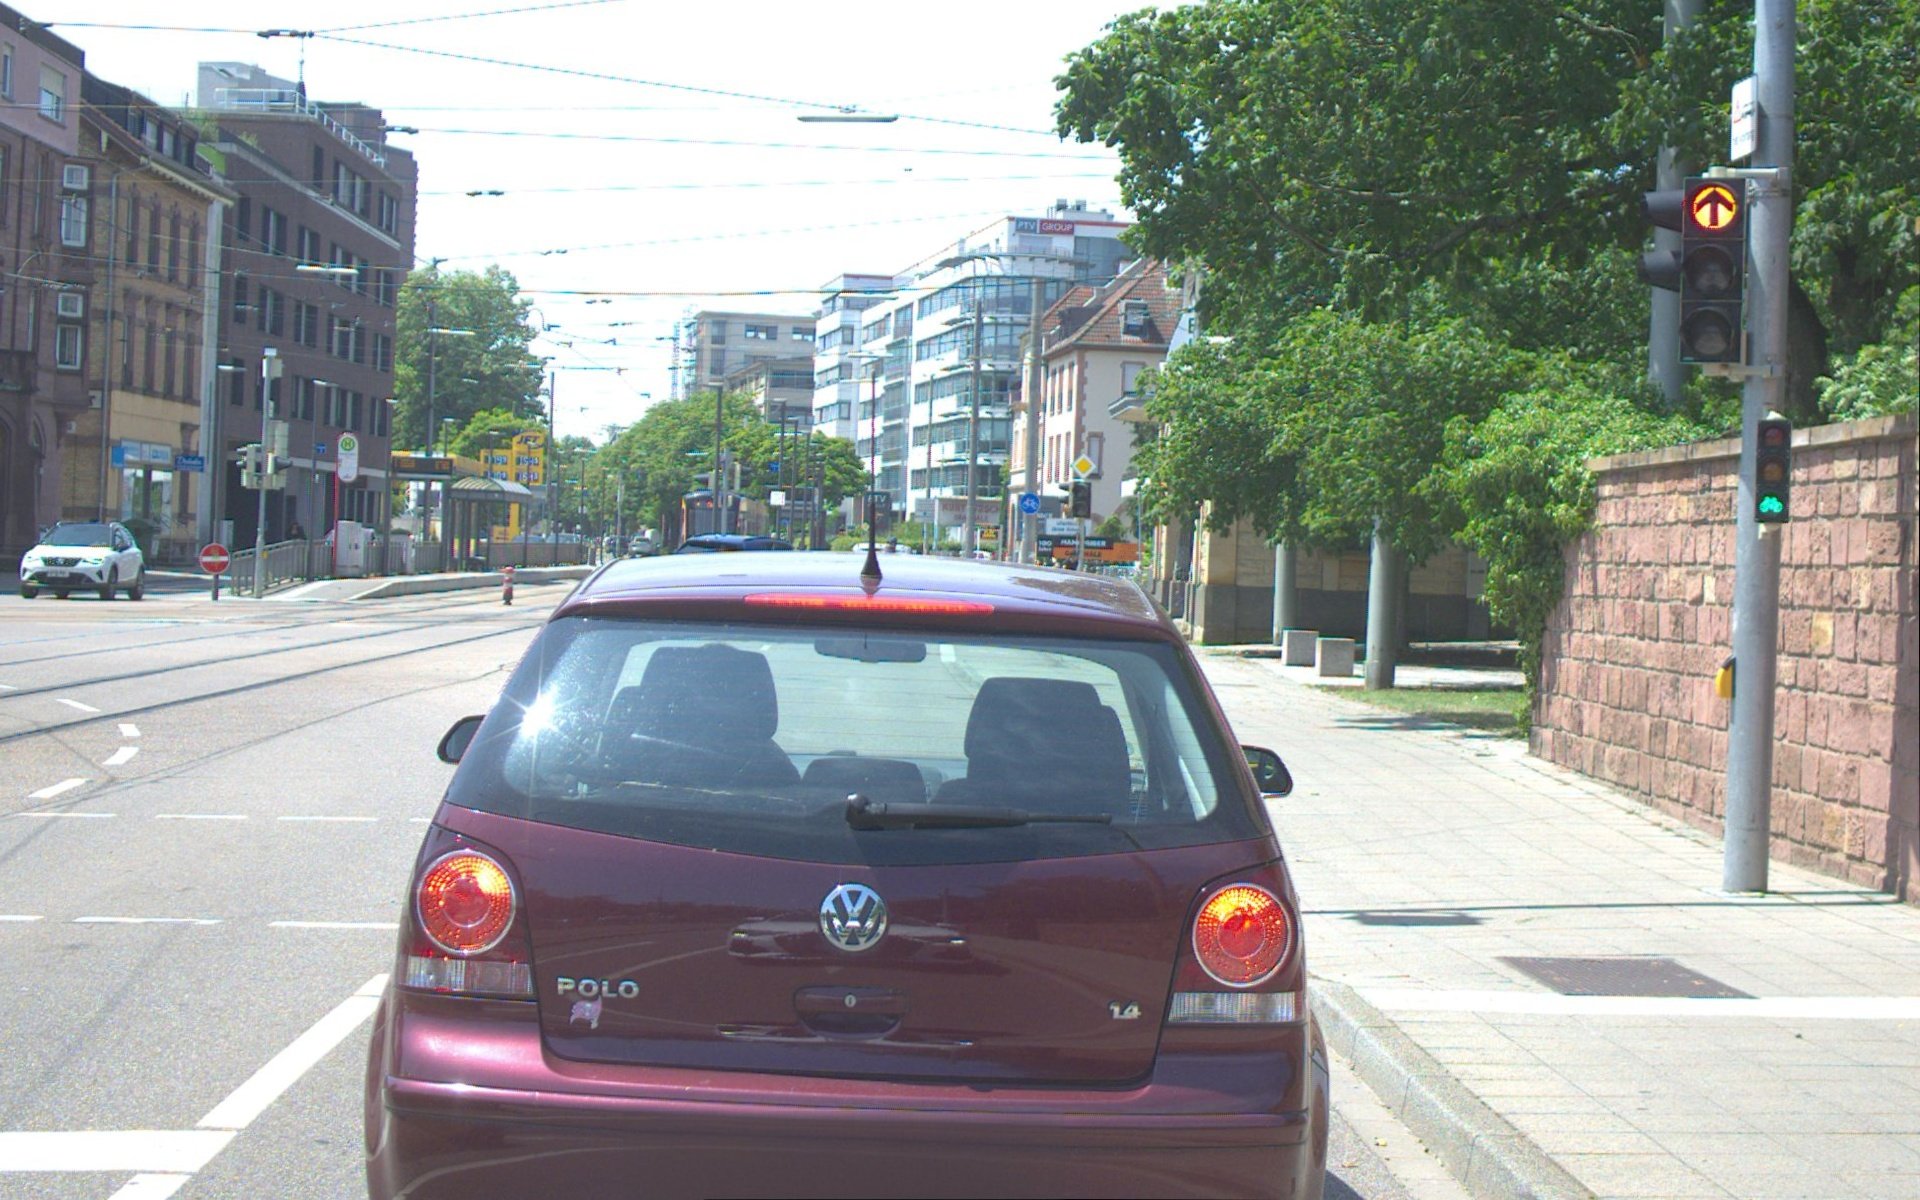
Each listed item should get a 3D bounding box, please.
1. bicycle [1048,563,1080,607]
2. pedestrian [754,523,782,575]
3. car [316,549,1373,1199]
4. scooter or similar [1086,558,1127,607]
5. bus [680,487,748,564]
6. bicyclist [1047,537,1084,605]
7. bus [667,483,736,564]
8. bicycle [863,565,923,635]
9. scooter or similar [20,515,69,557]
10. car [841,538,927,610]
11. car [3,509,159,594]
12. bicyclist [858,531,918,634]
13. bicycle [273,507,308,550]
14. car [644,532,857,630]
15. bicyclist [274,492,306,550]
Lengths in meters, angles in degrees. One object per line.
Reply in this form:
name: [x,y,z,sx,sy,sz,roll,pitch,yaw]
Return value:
bicycle: [2.538,-0.379,84.042,0.668,0.999,1.864,-2,2,0]
pedestrian: [-6.199,-1.650,111.081,0.763,1.669,1.100,2,1,0]
car: [-0.226,0.656,6.724,1.561,1.448,3.062,2,1,-2]
scooter or similar: [3.585,-0.434,84.301,0.339,1.174,1.468,2,1,-25]
bus: [-10.008,-3.040,140.352,2.233,2.993,6.594,2,1,-1]
bicyclist: [2.581,-0.703,84.115,0.832,1.612,0.860,-2,2,0]
bus: [-10.013,-2.974,133.775,2.145,2.993,6.574,2,1,-1]
bicycle: [-1.168,-0.016,60.345,0.376,1.193,1.903,2,1,19]
scooter or similar: [-24.375,-1.695,91.541,0.488,1.078,1.576,2,1,16]
car: [-1.685,-0.598,77.418,1.823,1.525,4.000,2,1,0]
car: [-17.271,-0.953,67.730,1.993,1.547,4.139,2,1,-1]
bicyclist: [-1.256,-0.308,60.206,0.728,1.754,0.923,2,1,19]
bicycle: [-20.880,-2.232,107.244,0.677,1.300,2.105,3,1,-1]
car: [-3.690,-0.337,61.468,1.996,1.619,4.626,2,1,21]
bicyclist: [-20.892,-2.472,107.247,0.732,1.756,1.135,3,1,-1]
